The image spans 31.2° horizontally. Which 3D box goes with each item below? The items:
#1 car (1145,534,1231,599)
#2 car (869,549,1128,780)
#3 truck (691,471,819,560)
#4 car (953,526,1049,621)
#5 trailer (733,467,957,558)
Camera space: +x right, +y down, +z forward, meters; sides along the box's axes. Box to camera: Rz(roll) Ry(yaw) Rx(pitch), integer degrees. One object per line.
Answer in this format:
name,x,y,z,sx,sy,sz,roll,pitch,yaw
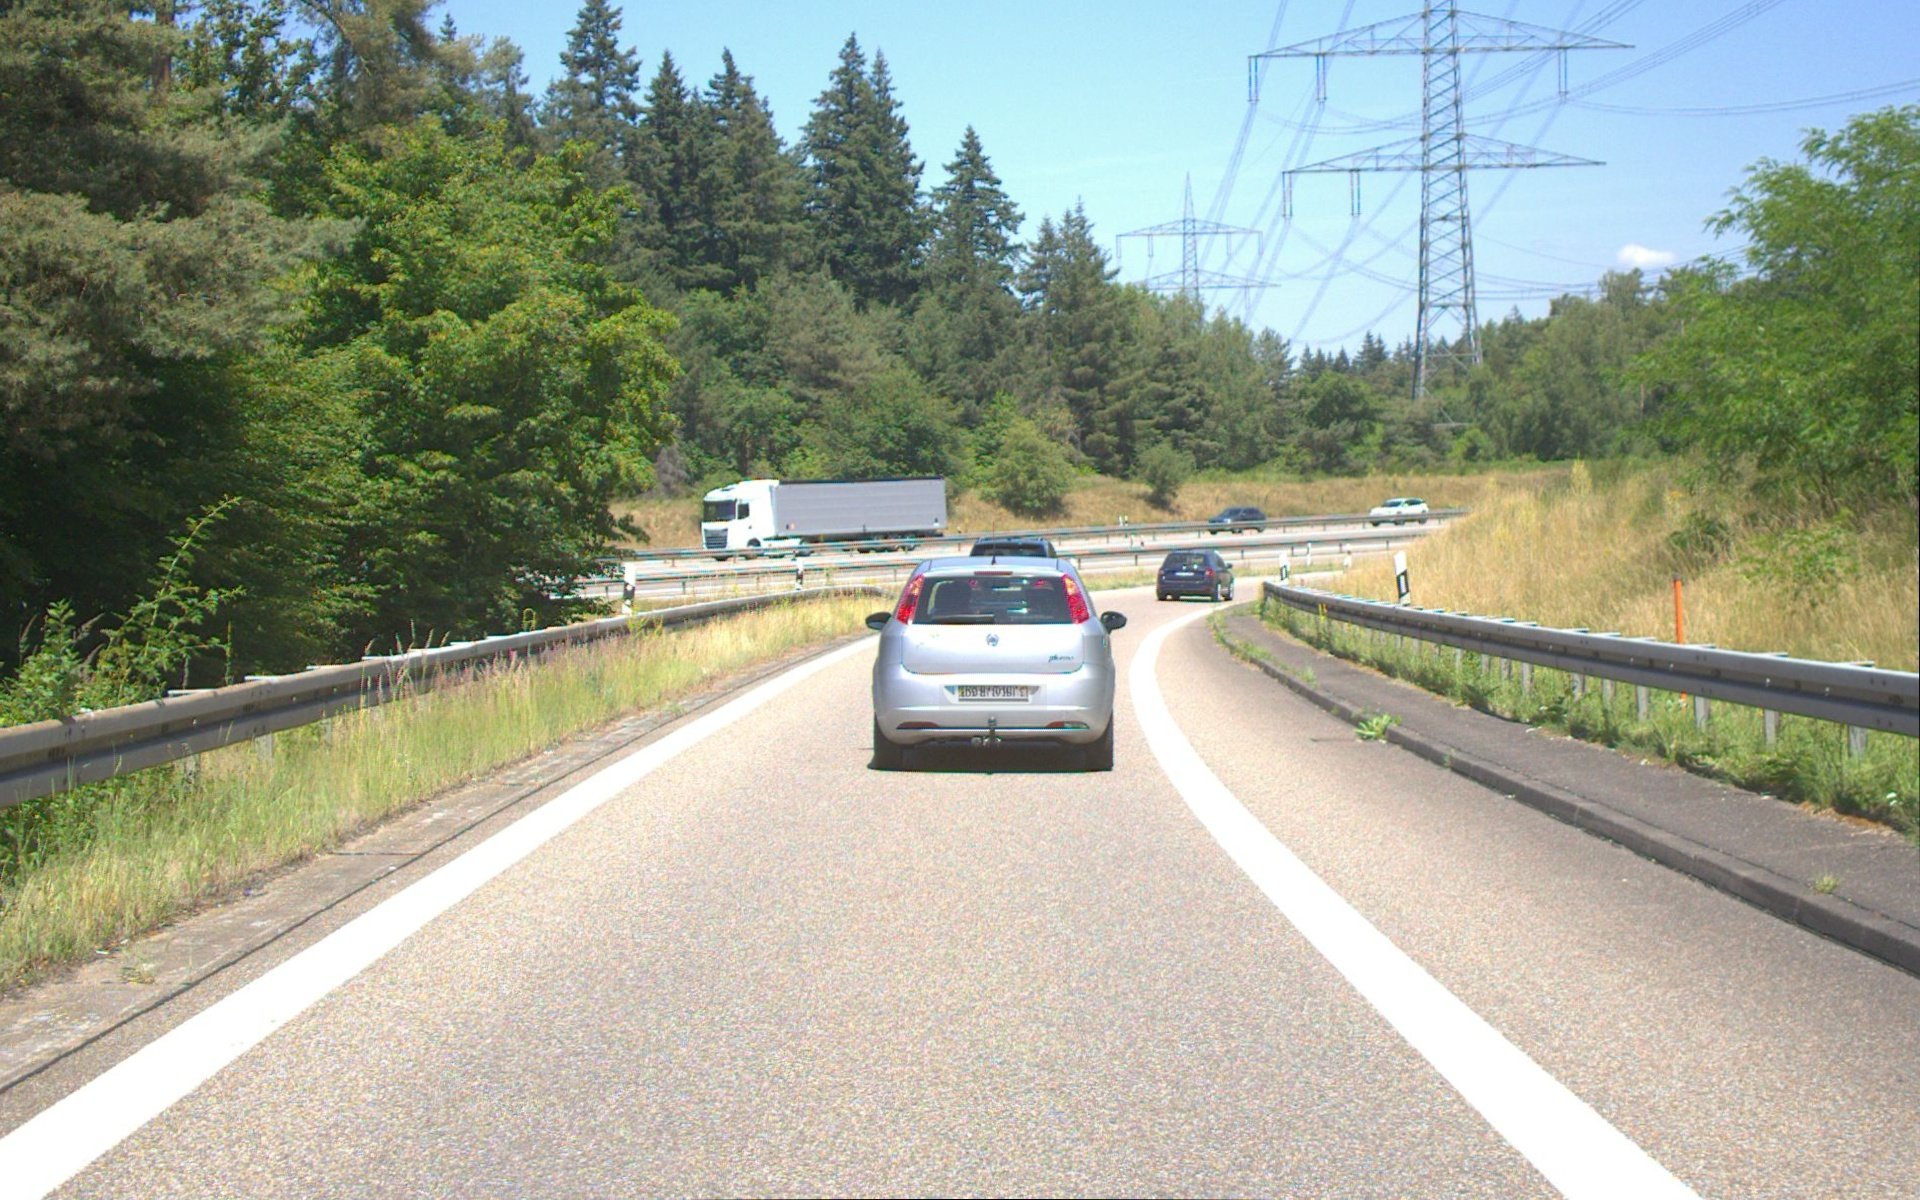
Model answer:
car,6.521,-0.967,97.851,1.882,1.678,3.998,-3,1,11
car,0.212,0.406,24.616,1.706,1.476,3.398,0,2,-2
truck,-10.588,-4.410,178.246,2.946,4.377,6.257,-1,2,41
car,0.777,-0.514,63.445,1.706,1.670,3.398,0,2,1
trailer,-5.997,-4.732,183.547,2.931,4.372,14.264,-1,2,41
